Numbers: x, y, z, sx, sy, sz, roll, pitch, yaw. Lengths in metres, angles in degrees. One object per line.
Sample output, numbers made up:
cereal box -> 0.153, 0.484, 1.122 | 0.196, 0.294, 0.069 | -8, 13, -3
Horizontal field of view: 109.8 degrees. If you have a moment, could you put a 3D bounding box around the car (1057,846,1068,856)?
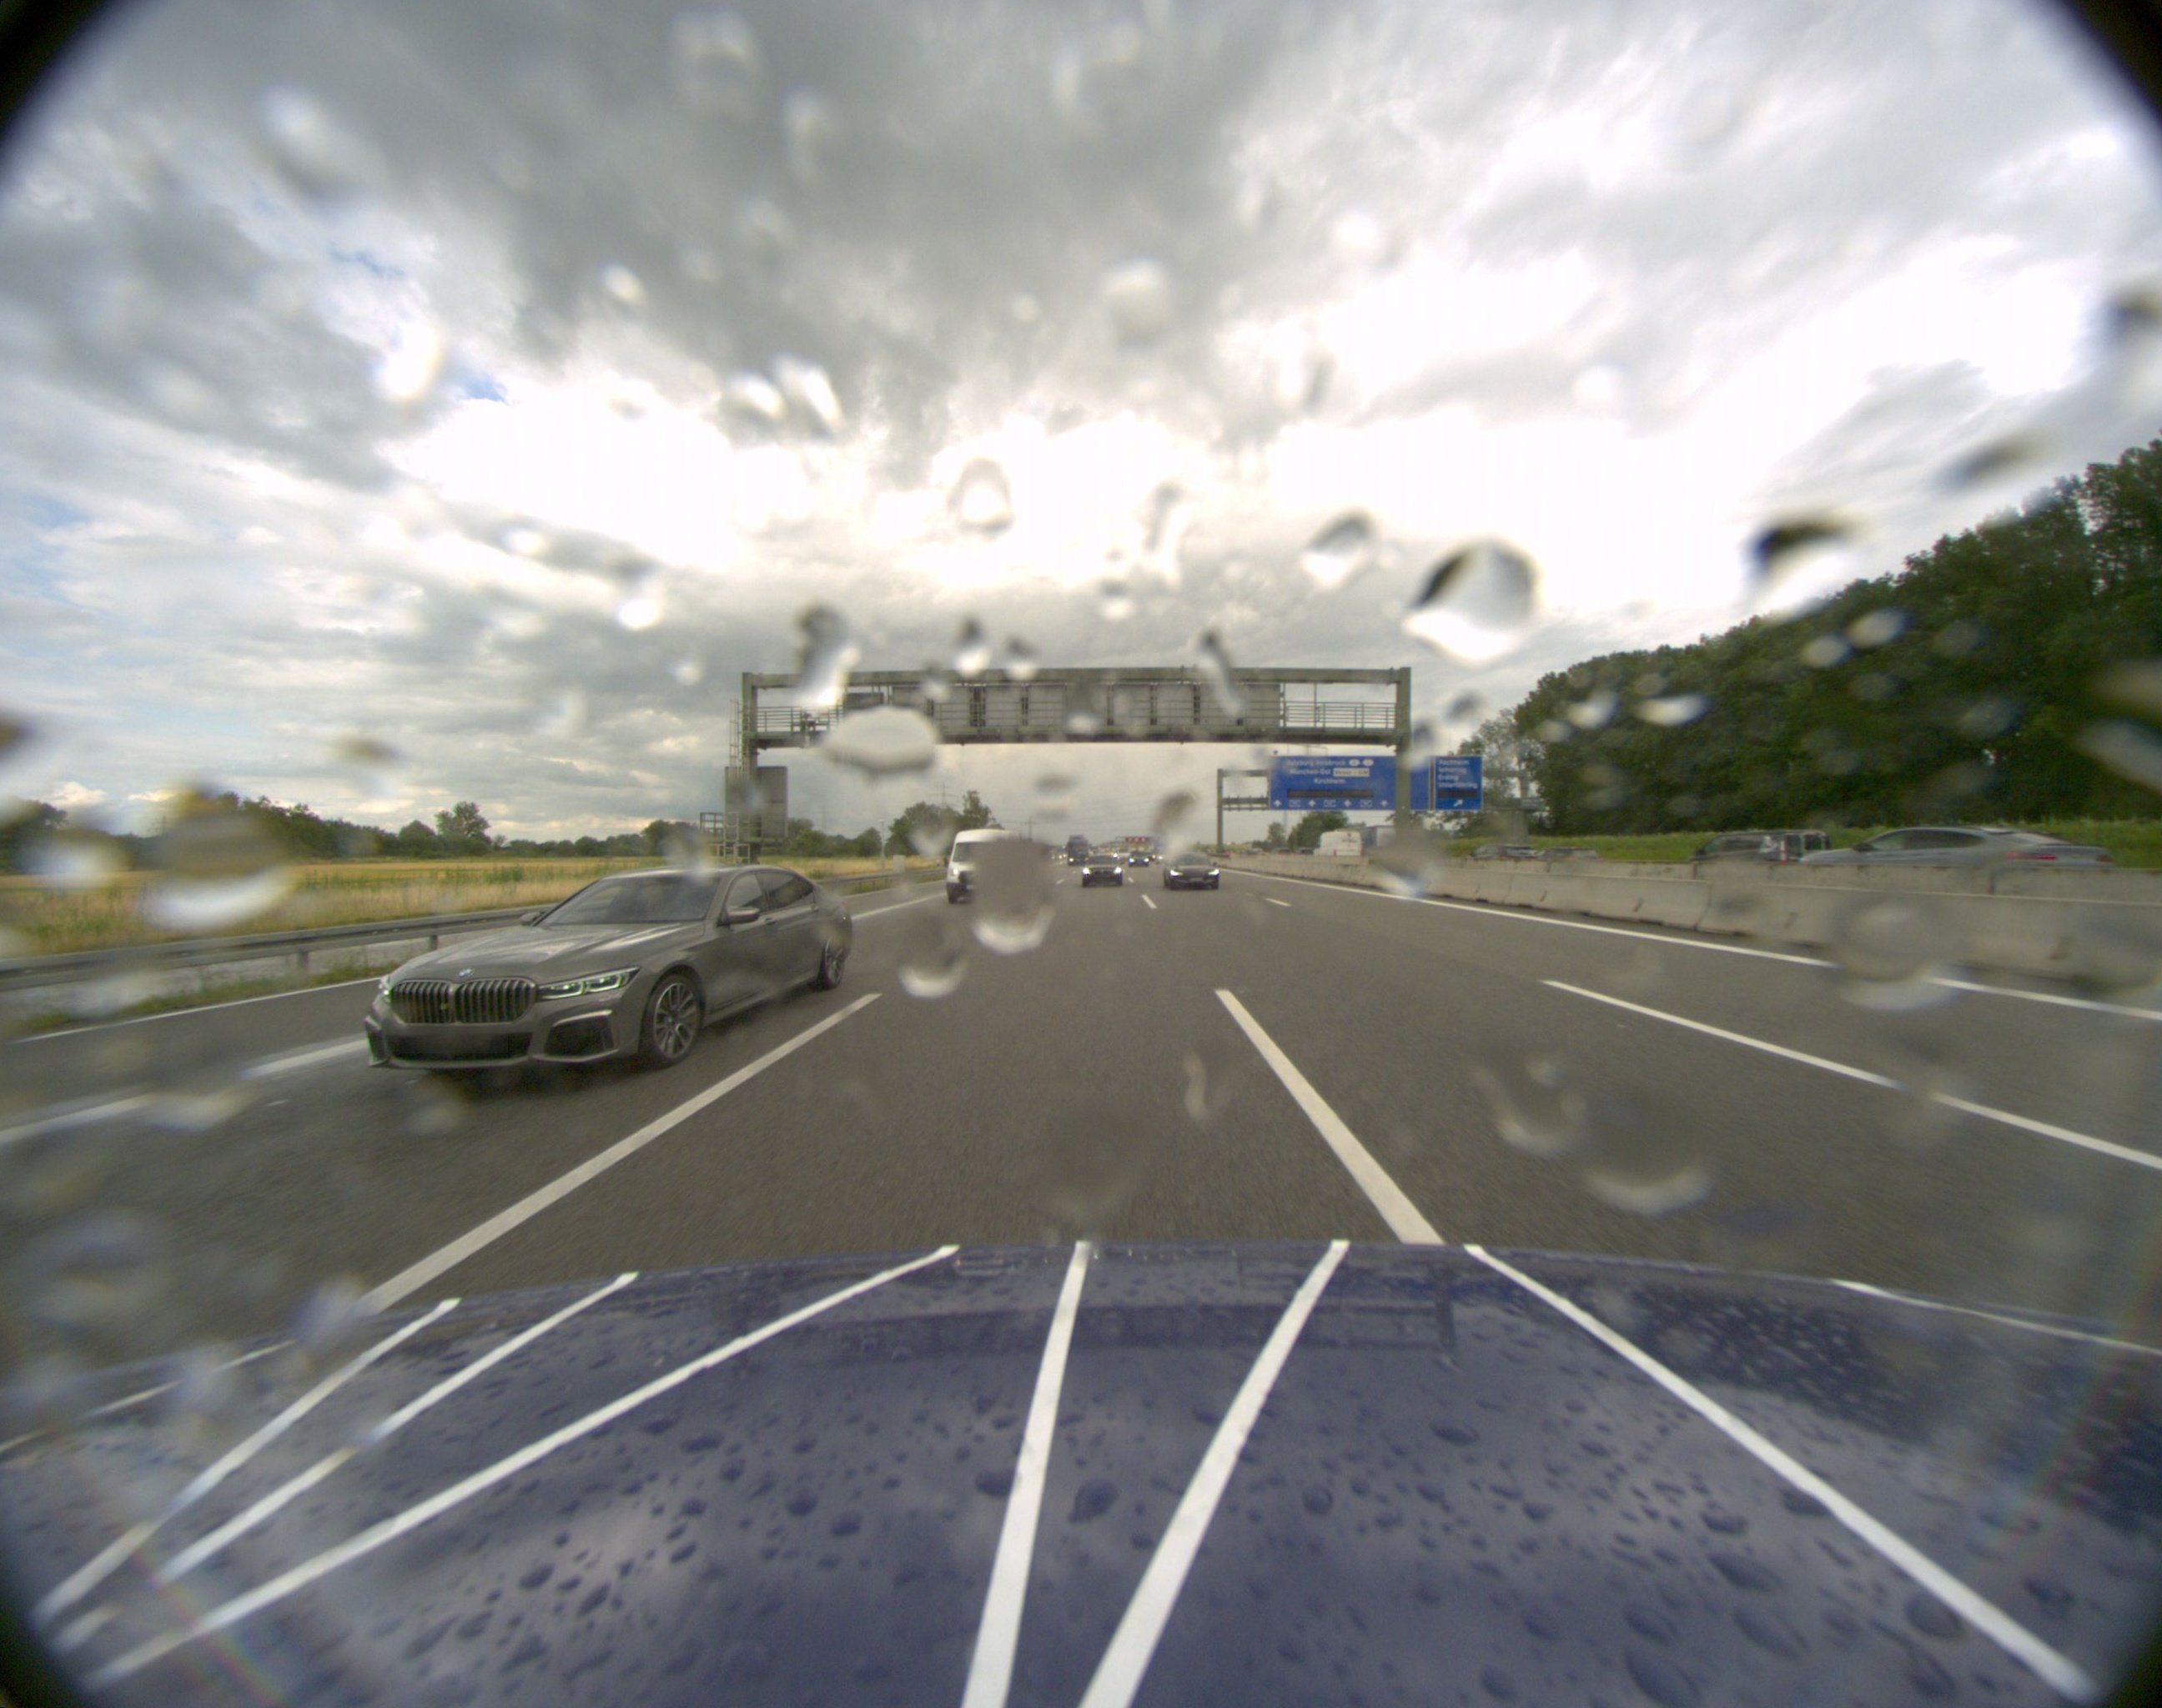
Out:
car -> -3.428, -0.580, 143.801 | 1.835, 2.002, 3.863 | -1, 1, 1

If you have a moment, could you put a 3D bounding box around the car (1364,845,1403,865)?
car -> 27.343, 0.040, 68.743 | 1.998, 1.696, 4.000 | -1, 1, 2

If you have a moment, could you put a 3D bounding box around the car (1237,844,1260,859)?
car -> 19.966, -0.355, 90.676 | 1.998, 1.717, 4.017 | -1, 1, 1

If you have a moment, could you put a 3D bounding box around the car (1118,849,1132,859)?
car -> 6.590, 0.034, 114.166 | 1.806, 1.424, 4.000 | -1, 1, 1

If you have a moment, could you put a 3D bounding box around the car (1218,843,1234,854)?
car -> 25.619, -0.968, 134.264 | 1.998, 1.717, 4.017 | -1, 1, 1

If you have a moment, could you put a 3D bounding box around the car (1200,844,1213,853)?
car -> 24.895, -1.162, 150.646 | 1.998, 1.717, 4.018 | -1, 1, 2

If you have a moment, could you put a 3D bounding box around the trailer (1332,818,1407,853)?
trailer -> 31.791, -1.917, 84.580 | 3.117, 3.487, 14.452 | -1, 1, 1

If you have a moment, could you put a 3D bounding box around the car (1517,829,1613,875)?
car -> 22.591, -0.110, 35.648 | 1.998, 2.002, 4.000 | -1, 1, 1

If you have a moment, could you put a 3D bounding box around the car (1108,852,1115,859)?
car -> 8.897, 0.372, 221.835 | 1.998, 1.801, 4.274 | -1, 1, 2

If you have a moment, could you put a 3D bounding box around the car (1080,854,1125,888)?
car -> 1.004, 0.725, 34.528 | 1.922, 1.407, 4.000 | -1, 0, 2

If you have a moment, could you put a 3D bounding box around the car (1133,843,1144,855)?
car -> 11.787, -1.025, 156.246 | 2.144, 2.486, 5.449 | -1, 1, 5

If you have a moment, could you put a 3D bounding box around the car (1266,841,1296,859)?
car -> 19.162, -0.423, 72.930 | 1.873, 1.648, 4.000 | -1, 1, 2

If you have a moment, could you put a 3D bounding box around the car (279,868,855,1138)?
car -> -3.843, 0.962, 7.018 | 1.944, 1.482, 4.775 | -1, 1, 1

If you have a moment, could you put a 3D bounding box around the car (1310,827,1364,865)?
car -> 18.850, -0.586, 56.255 | 1.998, 2.601, 6.342 | -1, 1, 1

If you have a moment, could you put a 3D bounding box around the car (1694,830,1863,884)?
car -> 25.343, 0.084, 27.902 | 1.709, 1.783, 4.969 | -1, 1, 1

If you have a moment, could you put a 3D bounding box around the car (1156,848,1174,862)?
car -> 9.640, 0.094, 87.466 | 1.822, 1.565, 4.000 | -1, 1, 3

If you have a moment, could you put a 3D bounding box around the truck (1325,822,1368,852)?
truck -> 31.904, -2.005, 91.546 | 3.143, 3.487, 6.100 | -1, 1, 1

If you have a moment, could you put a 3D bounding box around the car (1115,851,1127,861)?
car -> 7.482, 0.359, 142.841 | 1.998, 1.810, 5.162 | -1, 1, 1

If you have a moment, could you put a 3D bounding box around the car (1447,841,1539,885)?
car -> 18.022, 0.336, 33.482 | 1.709, 1.783, 4.429 | -1, 1, 1

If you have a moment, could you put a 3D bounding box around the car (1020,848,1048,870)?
car -> -3.618, 0.382, 59.367 | 1.999, 1.632, 4.629 | -1, 0, -1

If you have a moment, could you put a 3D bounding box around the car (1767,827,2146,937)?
car -> 17.640, 0.468, 15.877 | 1.998, 1.874, 5.186 | -1, 1, 1

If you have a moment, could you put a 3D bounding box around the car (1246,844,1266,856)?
car -> 24.608, -0.570, 106.802 | 1.998, 1.717, 4.017 | -1, 1, 1

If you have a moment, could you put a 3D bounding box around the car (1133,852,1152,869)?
car -> 5.942, 0.628, 73.495 | 1.710, 1.562, 4.347 | -1, 1, 5

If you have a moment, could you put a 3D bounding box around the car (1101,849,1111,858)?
car -> 5.704, -0.093, 173.445 | 1.998, 1.810, 5.163 | -1, 1, 3

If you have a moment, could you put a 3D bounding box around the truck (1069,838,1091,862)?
truck -> -0.125, -0.477, 88.347 | 2.391, 2.726, 6.593 | -1, 1, 1

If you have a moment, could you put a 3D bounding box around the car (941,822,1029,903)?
car -> -3.182, 0.249, 26.431 | 2.145, 2.486, 5.448 | -1, 1, 2

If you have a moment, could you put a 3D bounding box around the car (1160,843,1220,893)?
car -> 4.279, 0.484, 30.444 | 1.998, 1.810, 5.164 | -1, 1, 4

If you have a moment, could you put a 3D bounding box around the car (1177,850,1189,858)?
car -> 21.354, -0.063, 159.846 | 1.785, 1.687, 4.501 | -1, 1, -1

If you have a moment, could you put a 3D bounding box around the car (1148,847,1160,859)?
car -> 10.630, -0.128, 111.184 | 1.710, 1.621, 4.001 | -1, 1, 5

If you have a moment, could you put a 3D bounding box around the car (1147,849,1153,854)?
car -> 24.211, -0.993, 265.359 | 1.824, 1.721, 4.000 | -1, 1, 1
